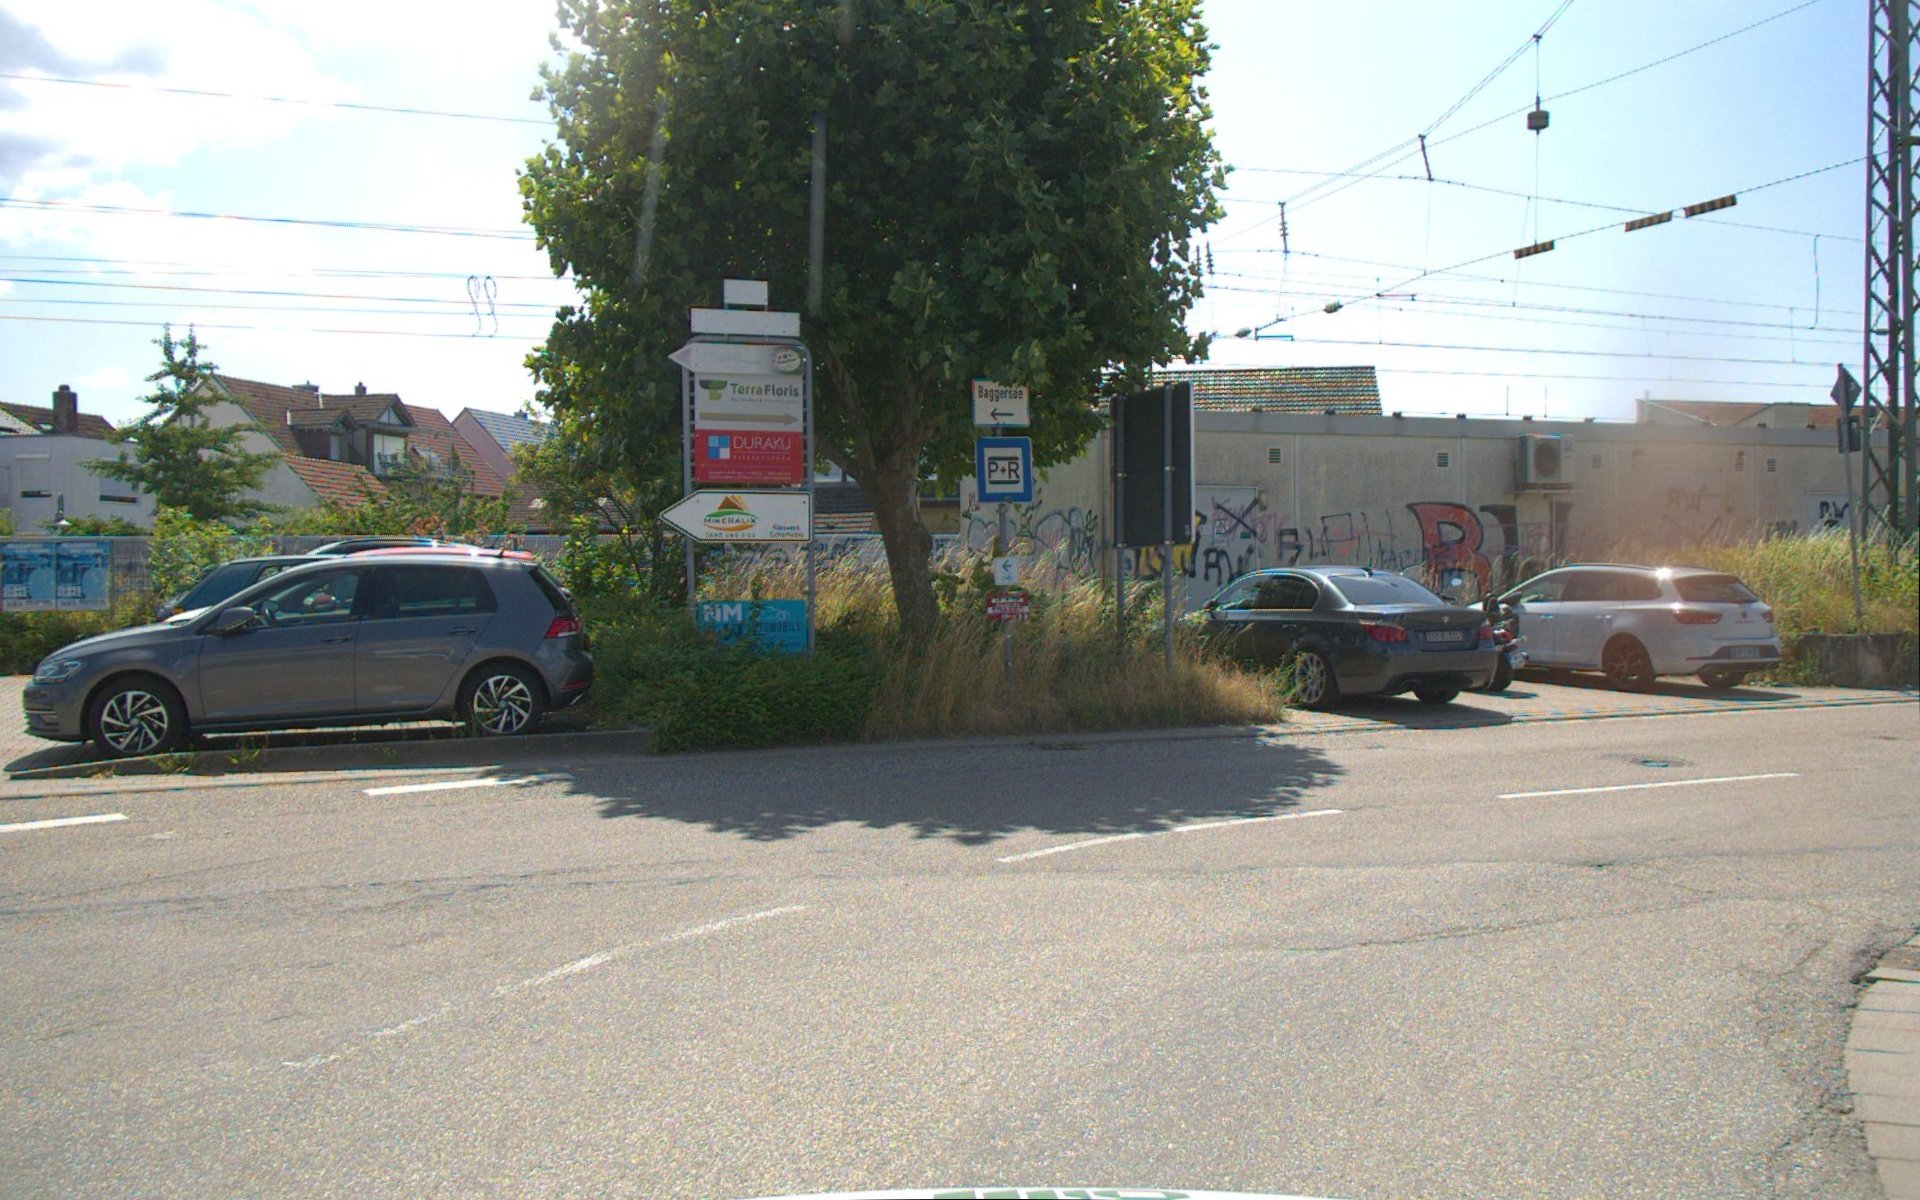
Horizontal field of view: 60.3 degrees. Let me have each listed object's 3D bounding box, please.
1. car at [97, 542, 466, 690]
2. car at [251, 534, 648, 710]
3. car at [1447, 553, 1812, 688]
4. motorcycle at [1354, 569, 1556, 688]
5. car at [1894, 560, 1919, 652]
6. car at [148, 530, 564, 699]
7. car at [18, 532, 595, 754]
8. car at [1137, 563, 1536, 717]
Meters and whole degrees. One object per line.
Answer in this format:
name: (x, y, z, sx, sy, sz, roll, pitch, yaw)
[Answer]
car: (-8.204, 0.151, 20.406, 4.010, 1.666, 1.990, -1, 1, -18)
car: (-4.937, 0.166, 16.230, 3.511, 1.563, 1.788, -1, 1, -18)
car: (8.061, 0.160, 20.307, 1.759, 1.426, 4.054, -1, 2, -25)
motorcycle: (5.797, 0.296, 19.587, 0.706, 1.303, 2.712, -1, 1, -24)
car: (16.009, 0.119, 24.105, 1.646, 1.392, 4.058, -2, 3, -23)
car: (-6.428, 0.104, 17.990, 4.009, 1.666, 1.990, -1, 1, -18)
car: (-4.994, 0.272, 13.115, 3.985, 1.557, 1.682, -1, 1, -18)
car: (3.894, 0.348, 17.886, 1.762, 1.435, 4.398, -1, 1, -29)
